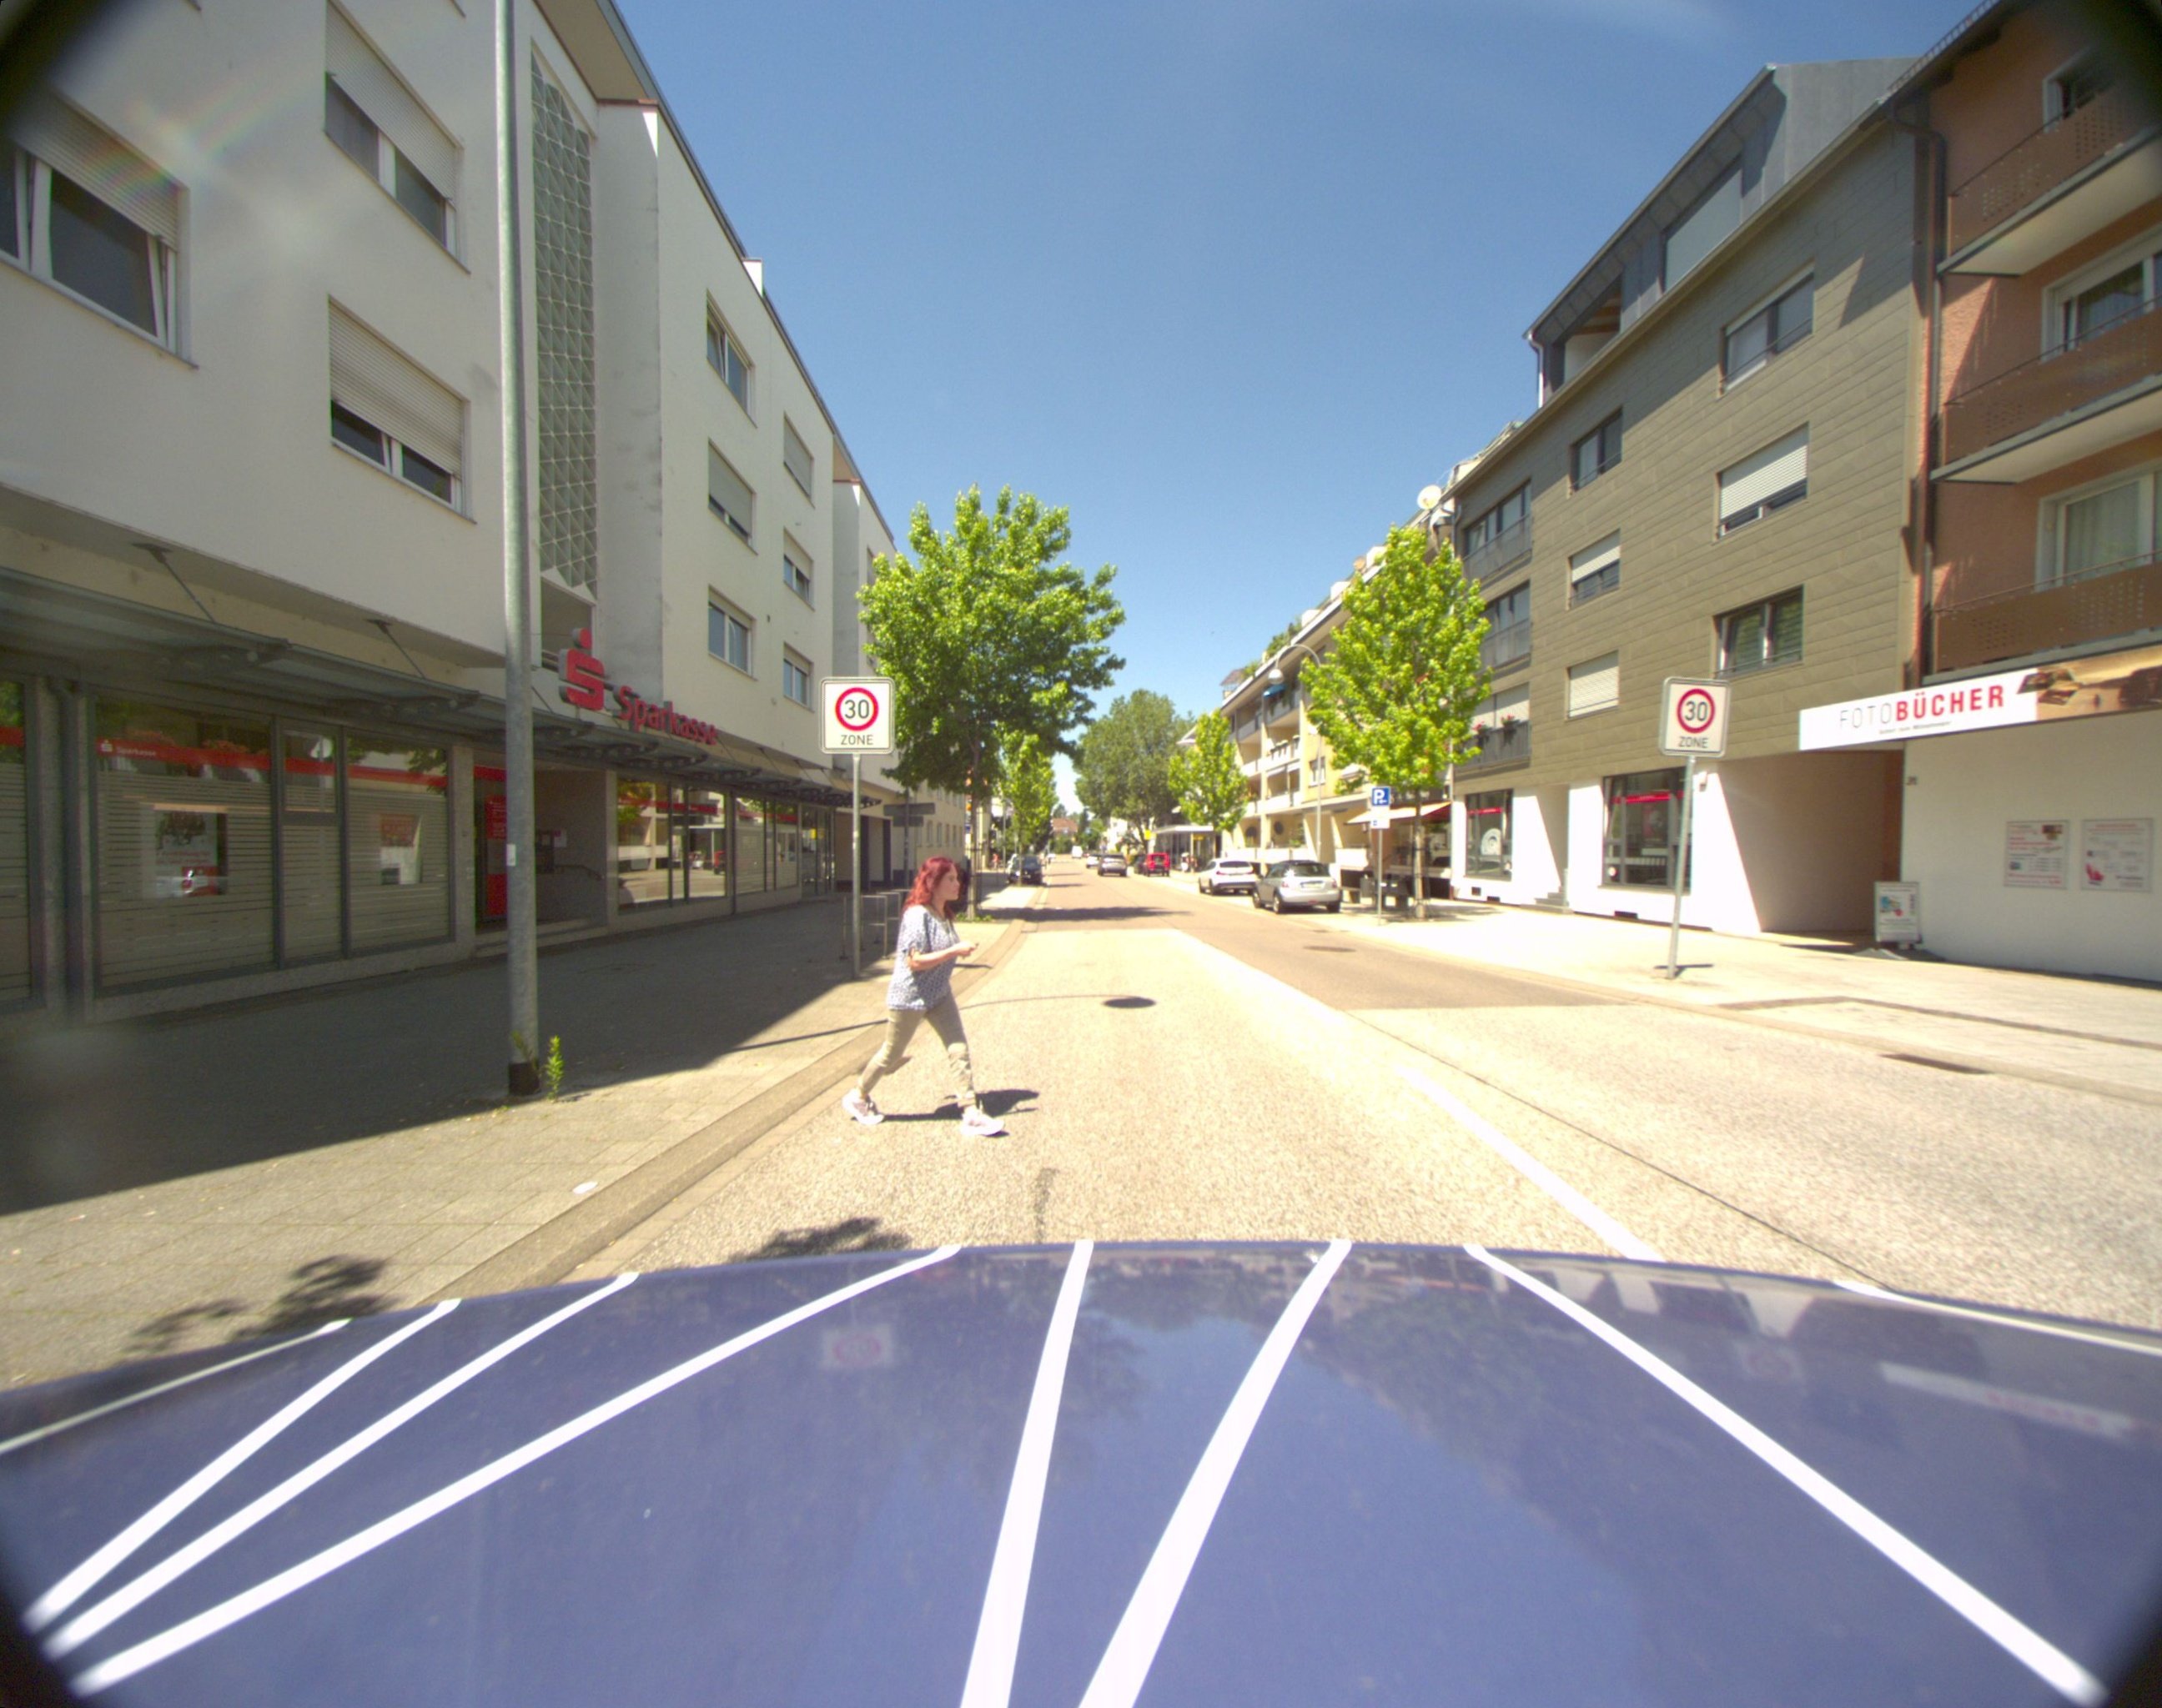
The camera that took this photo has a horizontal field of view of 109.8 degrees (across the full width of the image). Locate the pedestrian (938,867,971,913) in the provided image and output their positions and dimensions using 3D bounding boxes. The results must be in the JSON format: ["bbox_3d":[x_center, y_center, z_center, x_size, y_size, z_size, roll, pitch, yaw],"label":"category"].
[{"bbox_3d":[-3.499,0.991,21.025,0.761,1.233,0.538,1,1,13],"label":"pedestrian"}]

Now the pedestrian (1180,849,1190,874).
[{"bbox_3d":[7.488,0.533,54.579,0.667,1.794,0.686,1,1,13],"label":"pedestrian"}]

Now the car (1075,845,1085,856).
[{"bbox_3d":[-0.254,-0.779,168.645,2.232,2.452,5.247,0,1,-1],"label":"car"}]

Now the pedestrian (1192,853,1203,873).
[{"bbox_3d":[8.426,0.640,54.996,0.778,1.490,0.698,0,1,10],"label":"pedestrian"}]

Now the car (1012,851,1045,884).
[{"bbox_3d":[-3.006,0.720,42.948,1.693,1.712,3.998,3,0,-5],"label":"car"}]

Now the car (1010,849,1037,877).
[{"bbox_3d":[-3.654,0.566,48.541,1.693,1.712,4.132,0,0,-4],"label":"car"}]

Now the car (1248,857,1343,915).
[{"bbox_3d":[5.994,0.849,21.596,1.626,1.465,3.547,0,1,-1],"label":"car"}]

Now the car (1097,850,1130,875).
[{"bbox_3d":[2.393,0.578,56.811,1.906,1.744,4.754,1,0,-4],"label":"car"}]

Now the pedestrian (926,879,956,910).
[{"bbox_3d":[-4.041,1.158,21.888,0.678,0.847,0.538,1,1,13],"label":"pedestrian"}]

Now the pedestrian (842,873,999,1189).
[{"bbox_3d":[-0.855,0.918,4.176,0.734,1.600,0.559,0,1,0],"label":"pedestrian"}]

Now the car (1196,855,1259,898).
[{"bbox_3d":[6.090,0.892,32.070,1.699,1.583,4.299,-3,0,-1],"label":"car"}]

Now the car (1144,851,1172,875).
[{"bbox_3d":[5.588,0.604,55.501,1.645,1.652,3.369,-2,1,-1],"label":"car"}]

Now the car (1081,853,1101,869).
[{"bbox_3d":[1.059,0.704,80.913,1.776,1.623,4.298,0,0,-3],"label":"car"}]
